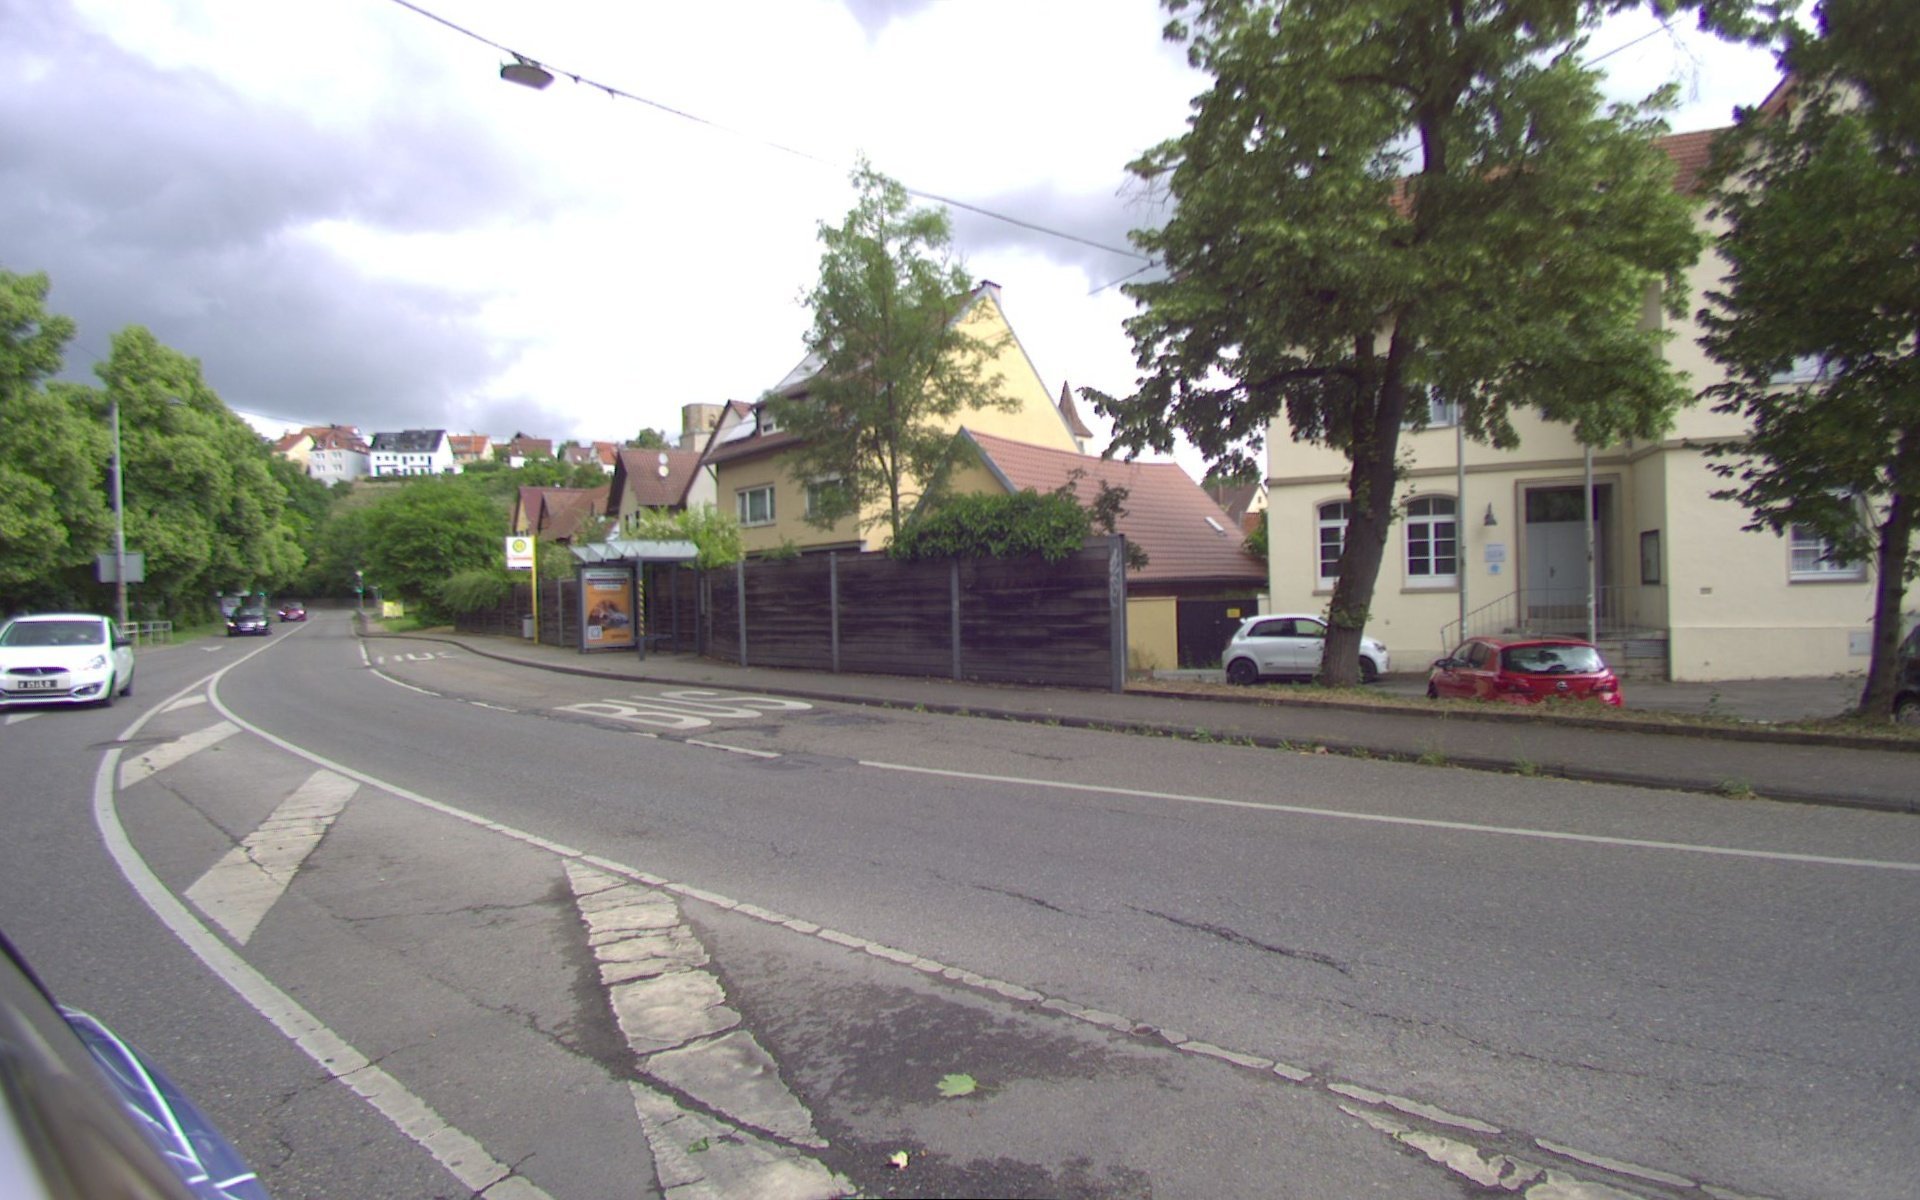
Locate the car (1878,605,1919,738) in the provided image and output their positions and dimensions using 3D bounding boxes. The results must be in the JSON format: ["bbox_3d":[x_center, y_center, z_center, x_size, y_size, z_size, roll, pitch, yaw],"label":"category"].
[{"bbox_3d":[12.704,0.888,11.587,1.586,1.644,3.093,-1,0,2],"label":"car"}]

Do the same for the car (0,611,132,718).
[{"bbox_3d":[-14.677,0.963,16.451,1.593,1.525,3.614,-1,0,-35],"label":"car"}]

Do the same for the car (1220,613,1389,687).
[{"bbox_3d":[7.751,1.107,22.926,3.487,1.528,1.581,-1,0,20],"label":"car"}]

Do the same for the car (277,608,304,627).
[{"bbox_3d":[-60.386,1.579,91.309,1.798,1.685,4.070,-1,0,-31],"label":"car"}]

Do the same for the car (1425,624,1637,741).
[{"bbox_3d":[8.130,1.103,14.770,1.590,1.389,3.544,-1,0,10],"label":"car"}]

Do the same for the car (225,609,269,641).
[{"bbox_3d":[-37.898,1.293,53.825,1.696,1.559,3.793,-1,0,-32],"label":"car"}]
